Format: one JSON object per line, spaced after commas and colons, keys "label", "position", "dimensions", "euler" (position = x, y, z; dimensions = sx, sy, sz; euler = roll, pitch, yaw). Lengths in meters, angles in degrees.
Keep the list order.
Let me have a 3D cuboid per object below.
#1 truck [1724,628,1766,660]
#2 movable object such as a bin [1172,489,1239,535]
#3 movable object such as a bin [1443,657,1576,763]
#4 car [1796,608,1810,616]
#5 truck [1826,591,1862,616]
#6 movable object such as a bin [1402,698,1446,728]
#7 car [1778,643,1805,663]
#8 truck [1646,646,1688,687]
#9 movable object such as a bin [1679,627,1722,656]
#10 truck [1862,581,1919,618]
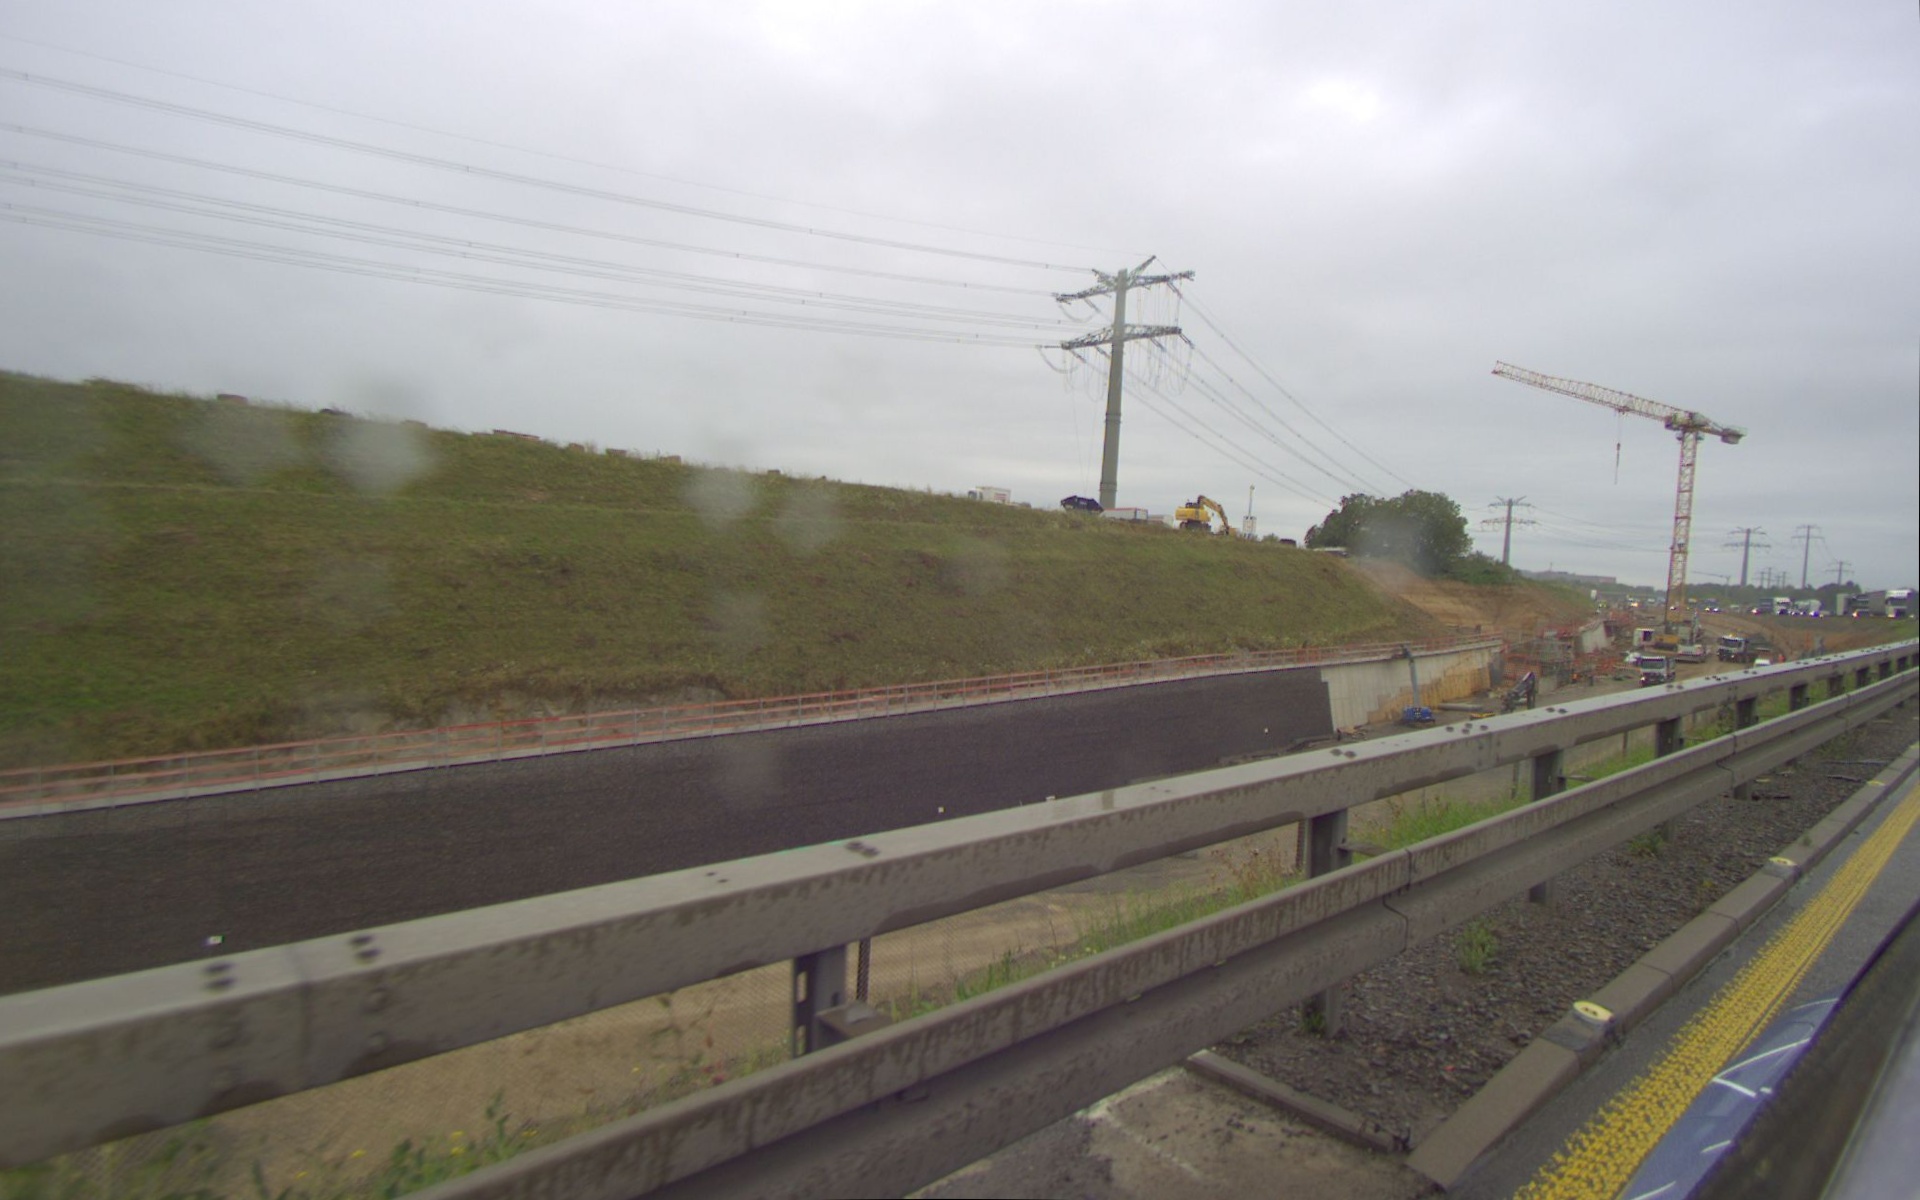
{"label": "truck", "position": [107.463, 5.915, 138.541], "dimensions": [8.765, 3.583, 3.355], "euler": [-3, 3, -45]}
{"label": "movable object such as a bin", "position": [26.341, -9.354, 108.296], "dimensions": [8.042, 4.259, 3.102], "euler": [1, 1, -44]}
{"label": "movable object such as a bin", "position": [38.920, 7.423, 71.400], "dimensions": [11.898, 5.740, 4.896], "euler": [-3, 1, -45]}
{"label": "car", "position": [154.285, 2.143, 185.155], "dimensions": [1.781, 1.445, 3.945], "euler": [0, 0, 38]}
{"label": "truck", "position": [144.150, 0.540, 165.080], "dimensions": [3.525, 3.943, 8.228], "euler": [0, 0, 35]}
{"label": "movable object such as a bin", "position": [37.733, 9.169, 82.289], "dimensions": [2.512, 1.935, 3.210], "euler": [-2, -1, 40]}
{"label": "car", "position": [108.610, 6.917, 132.190], "dimensions": [3.934, 2.041, 1.993], "euler": [0, -13, -44]}
{"label": "truck", "position": [77.846, 7.277, 111.363], "dimensions": [2.702, 3.655, 8.937], "euler": [3, 3, 42]}
{"label": "movable object such as a bin", "position": [100.024, 5.567, 136.640], "dimensions": [6.541, 3.467, 3.513], "euler": [-1, 2, -43]}
{"label": "truck", "position": [116.619, -0.092, 126.977], "dimensions": [4.298, 4.400, 13.223], "euler": [0, 0, 38]}
